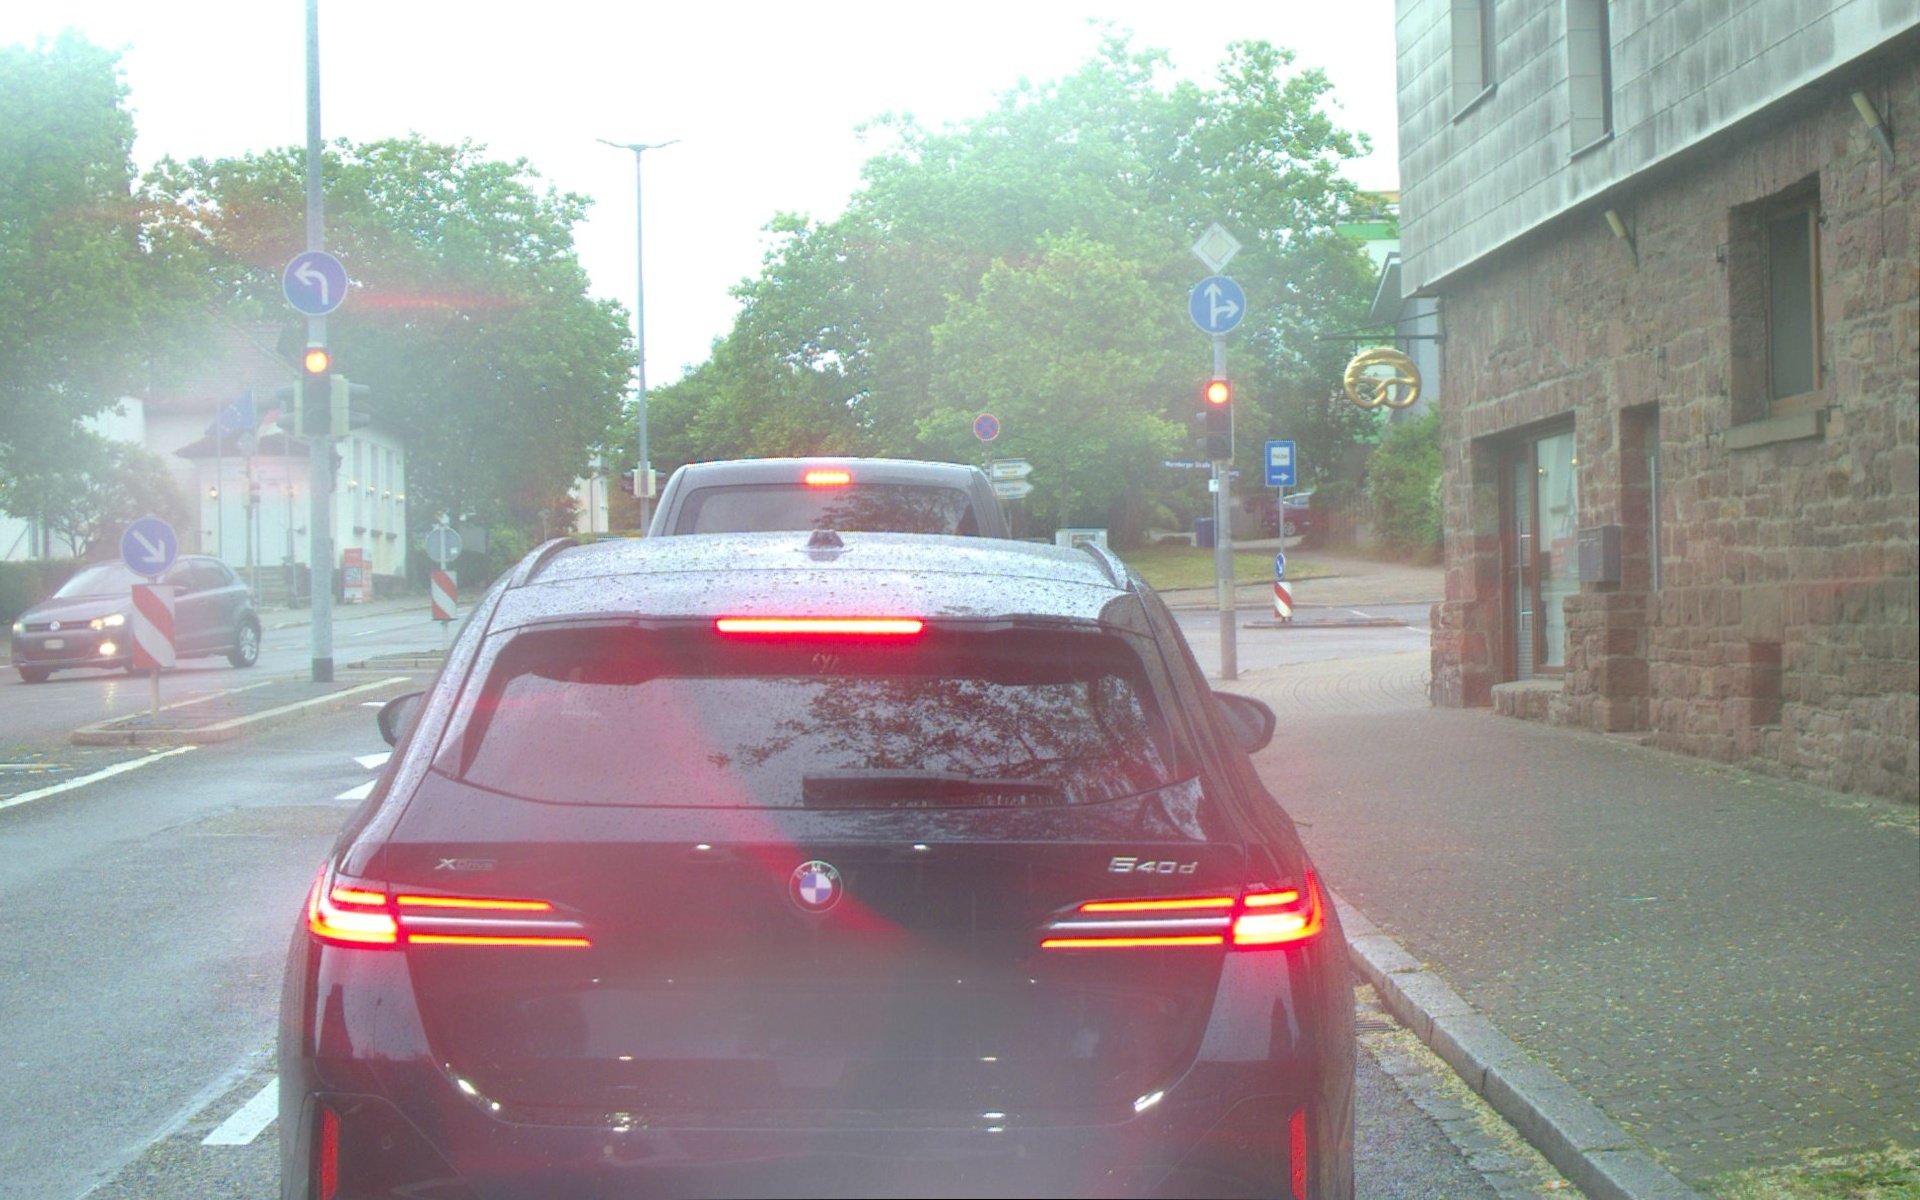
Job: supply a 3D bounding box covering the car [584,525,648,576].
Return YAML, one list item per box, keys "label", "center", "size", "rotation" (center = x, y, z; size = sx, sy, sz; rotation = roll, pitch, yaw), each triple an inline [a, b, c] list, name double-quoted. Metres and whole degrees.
- label: "car"
  center: [-9.538, -1.386, 95.396]
  size: [1.464, 1.393, 3.322]
  rotation: [0, 1, -1]

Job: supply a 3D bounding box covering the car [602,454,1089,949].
- label: "car"
  center: [-0.513, 0.327, 14.658]
  size: [1.783, 1.811, 4.001]
  rotation: [0, 1, -3]

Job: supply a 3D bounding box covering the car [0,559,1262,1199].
- label: "car"
  center: [-0.699, 0.650, 7.414]
  size: [2.064, 1.441, 4.484]
  rotation: [0, 1, -3]

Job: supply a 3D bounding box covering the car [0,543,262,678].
- label: "car"
  center: [-9.960, 0.094, 41.106]
  size: [1.994, 1.504, 3.954]
  rotation: [0, 1, 7]
